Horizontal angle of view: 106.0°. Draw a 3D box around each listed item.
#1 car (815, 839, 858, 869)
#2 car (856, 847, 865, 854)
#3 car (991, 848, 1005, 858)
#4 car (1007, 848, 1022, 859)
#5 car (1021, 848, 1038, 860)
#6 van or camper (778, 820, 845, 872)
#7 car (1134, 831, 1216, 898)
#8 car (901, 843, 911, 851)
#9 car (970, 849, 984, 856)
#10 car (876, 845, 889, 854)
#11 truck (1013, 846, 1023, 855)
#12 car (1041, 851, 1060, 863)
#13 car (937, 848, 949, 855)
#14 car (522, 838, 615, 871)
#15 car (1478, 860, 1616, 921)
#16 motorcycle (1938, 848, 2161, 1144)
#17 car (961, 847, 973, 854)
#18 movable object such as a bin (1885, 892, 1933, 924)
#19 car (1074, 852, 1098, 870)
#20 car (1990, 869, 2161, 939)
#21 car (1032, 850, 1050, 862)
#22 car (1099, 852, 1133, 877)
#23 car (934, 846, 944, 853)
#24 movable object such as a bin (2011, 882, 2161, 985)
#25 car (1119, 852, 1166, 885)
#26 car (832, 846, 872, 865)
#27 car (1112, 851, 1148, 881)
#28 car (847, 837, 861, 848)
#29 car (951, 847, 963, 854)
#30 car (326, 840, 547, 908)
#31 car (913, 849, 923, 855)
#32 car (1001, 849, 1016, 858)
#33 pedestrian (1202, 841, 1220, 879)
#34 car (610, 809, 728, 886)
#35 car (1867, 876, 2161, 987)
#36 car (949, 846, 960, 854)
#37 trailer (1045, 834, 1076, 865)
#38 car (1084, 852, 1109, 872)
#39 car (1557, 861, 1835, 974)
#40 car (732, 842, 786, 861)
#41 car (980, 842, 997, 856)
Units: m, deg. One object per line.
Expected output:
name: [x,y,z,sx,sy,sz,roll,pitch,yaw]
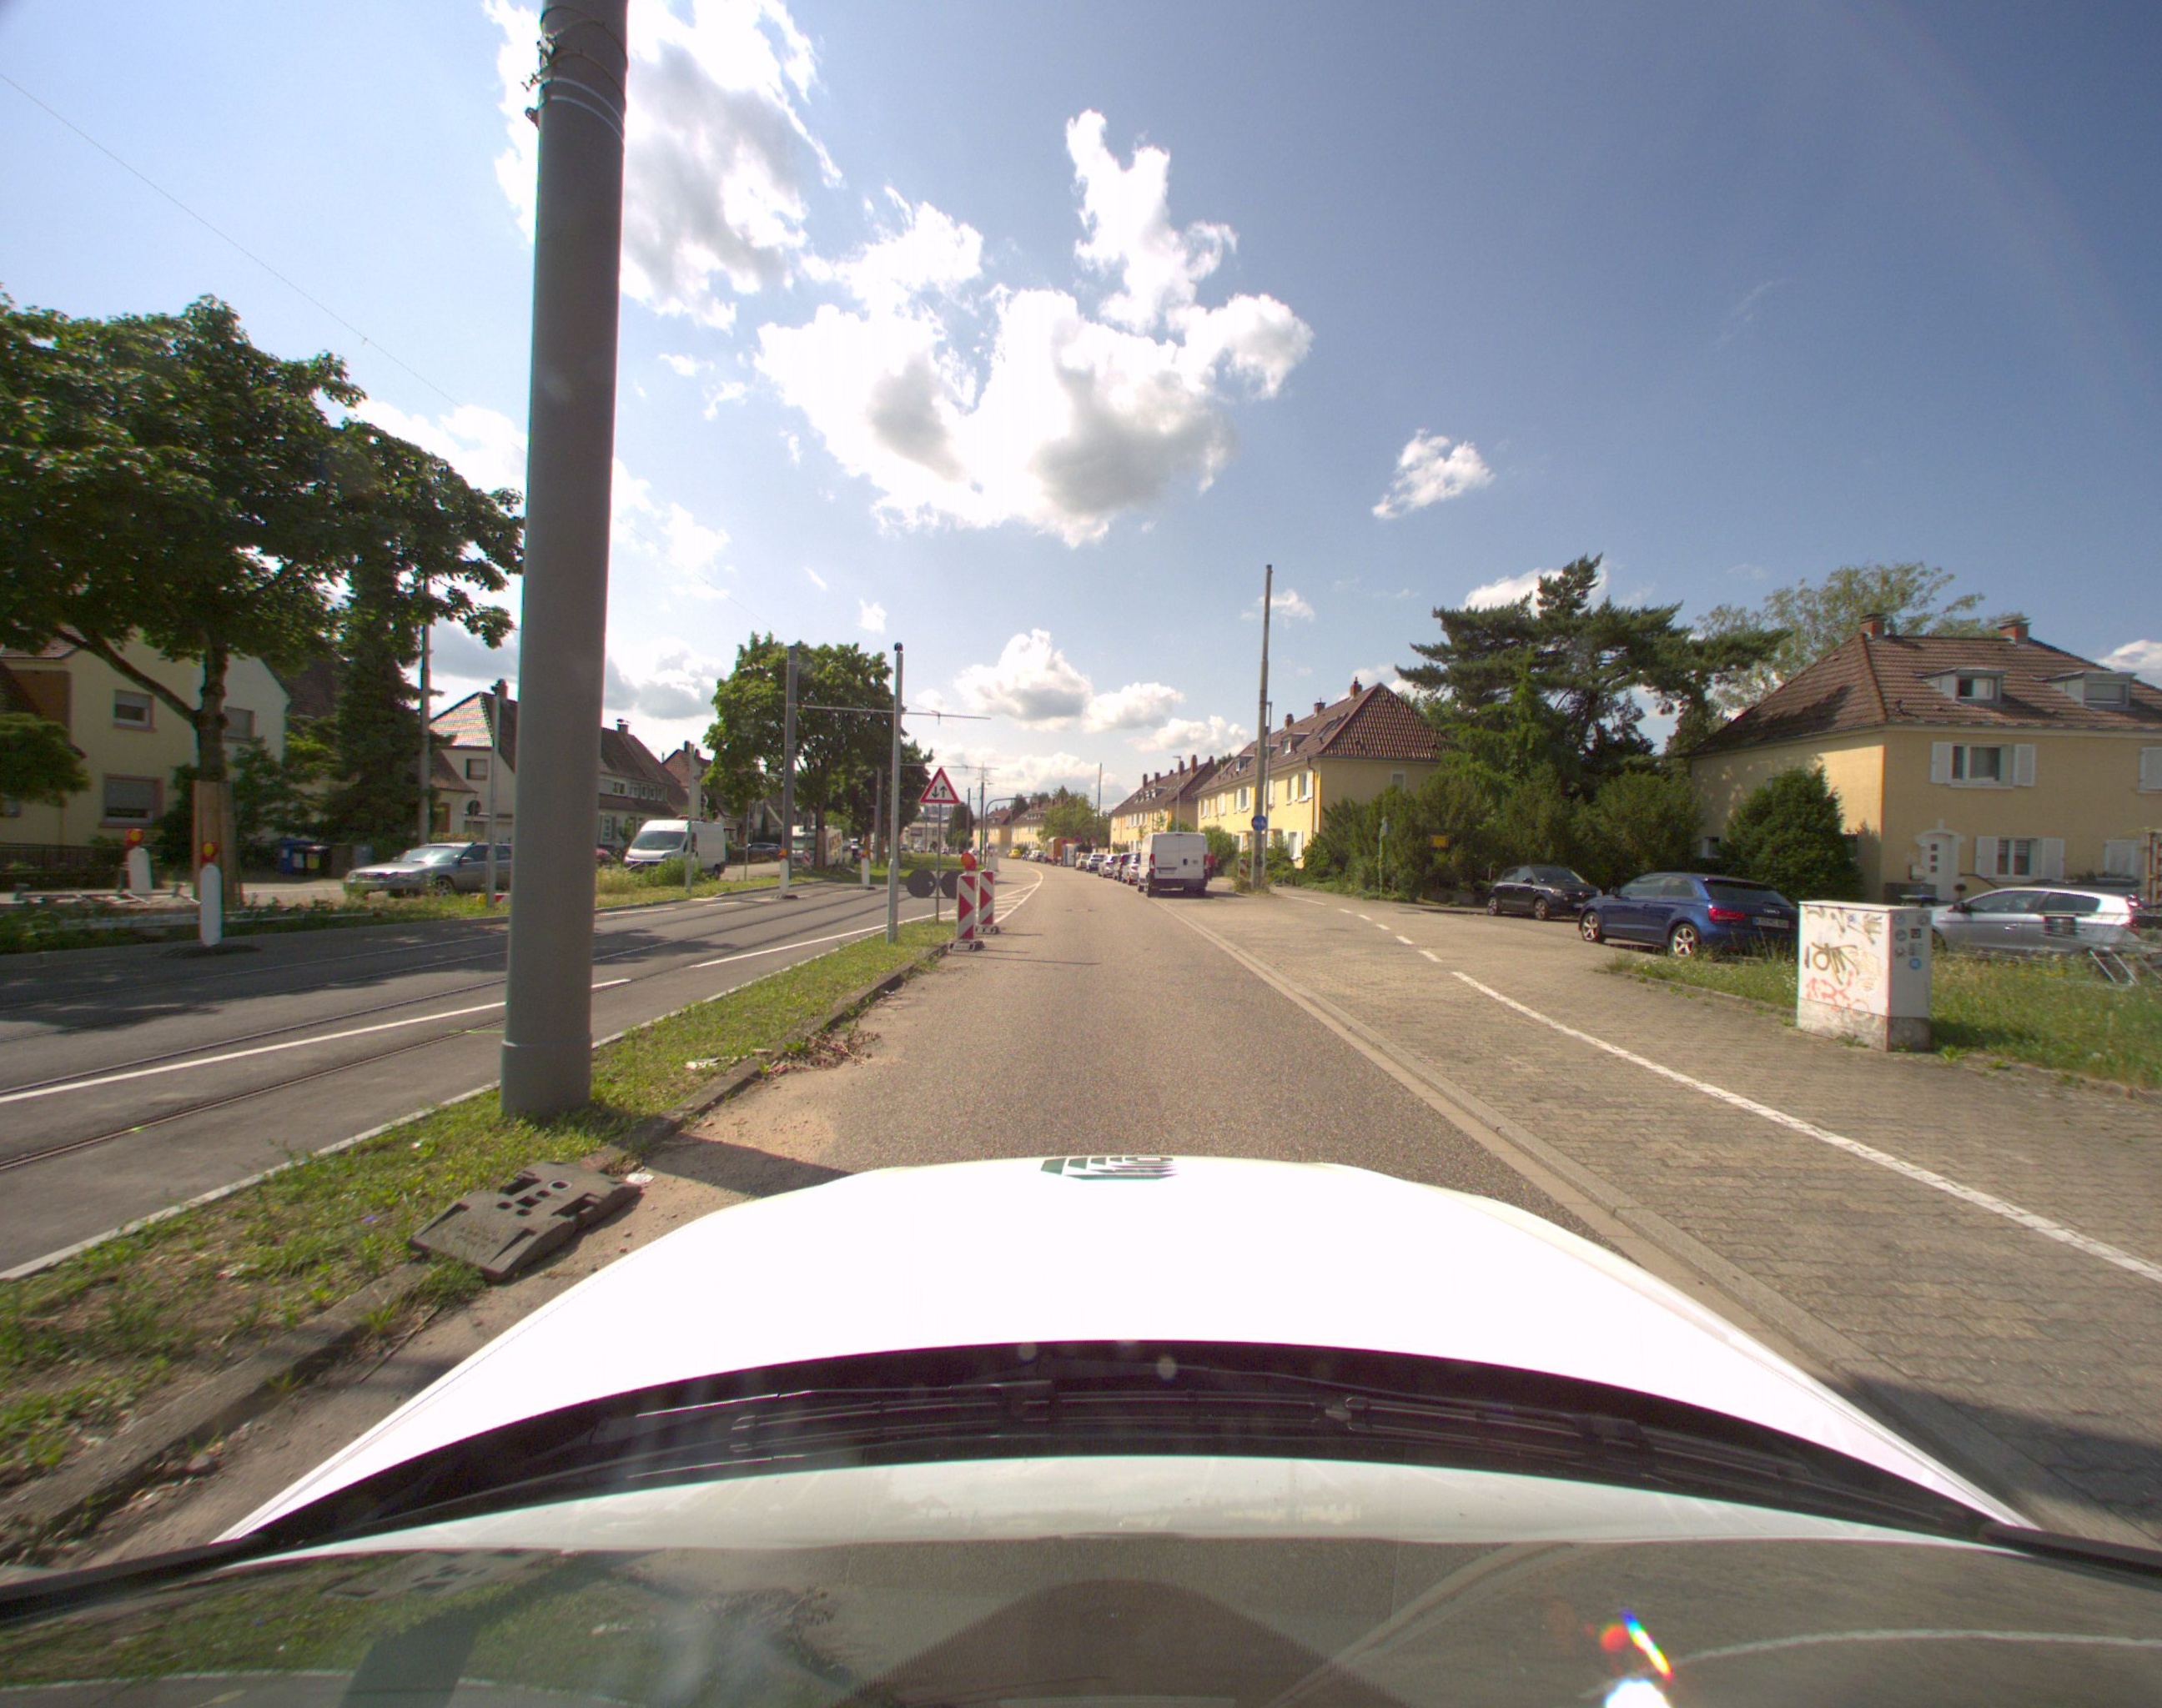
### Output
car: [-17.611,0.006,58.828,1.990,2.013,4.895,1,0,-5]
car: [-51.218,-0.830,189.000,1.734,1.505,4.537,-1,1,-20]
car: [-14.462,-0.245,142.226,1.640,1.602,4.006,2,0,-17]
car: [-10.510,-0.099,128.172,1.639,1.482,3.912,-2,2,-15]
car: [-7.371,0.031,116.166,1.551,1.641,4.226,1,0,-14]
van or camper: [-16.783,-0.479,51.151,2.372,2.970,7.282,1,0,-5]
car: [3.346,0.331,30.338,2.269,2.182,6.366,1,0,0]
car: [-44.953,-1.843,208.940,1.961,1.966,5.259,0,1,-19]
car: [-20.978,-0.320,164.297,1.806,1.458,4.730,-1,0,-22]
car: [-37.124,-0.889,152.176,1.817,1.586,4.537,-1,1,-20]
truck: [-11.770,-0.632,151.249,1.349,1.688,2.427,1,0,-17]
car: [-3.745,0.341,98.484,1.578,1.449,4.436,1,0,-11]
car: [-27.660,-0.522,163.115,1.671,1.449,3.932,-1,1,-20]
car: [-26.009,0.019,41.416,3.610,1.522,1.668,1,0,-4]
car: [13.078,0.975,23.131,1.624,1.547,3.805,2,0,-3]
motorcycle: [5.921,0.711,3.865,1.043,1.470,2.587,-1,0,2]
car: [-23.692,-0.651,168.983,1.627,1.417,3.972,-1,1,-21]
movable object such as a bin: [25.216,1.631,24.810,0.697,0.913,0.741,1,0,2]
car: [0.372,0.569,68.597,1.462,1.502,4.099,0,0,-7]
car: [26.909,1.323,21.382,4.097,1.689,1.734,2,-3,0]
car: [-5.261,0.198,106.192,1.707,1.449,4.816,1,0,-11]
car: [2.101,0.611,50.498,1.745,1.497,4.381,0,0,-3]
car: [-34.382,-1.049,197.173,1.770,1.502,3.972,-1,1,-21]
movable object such as a bin: [10.640,0.795,8.462,0.567,0.936,1.290,1,0,7]
car: [2.936,0.657,39.675,1.704,1.504,4.248,1,0,-4]
car: [-17.955,0.105,64.084,1.847,1.387,4.806,1,0,-1]
car: [2.648,0.636,44.592,1.624,1.550,3.806,0,0,-3]
car: [-54.667,-2.822,196.053,2.084,2.721,6.944,-1,1,-25]
car: [-26.941,-0.734,177.382,1.770,1.417,3.972,-1,1,-21]
car: [-15.644,0.430,20.172,1.687,1.464,4.753,1,0,0]
car: [-37.776,-0.489,188.443,1.730,1.389,4.093,1,0,-21]
car: [-11.919,-0.104,133.127,1.640,1.482,4.101,2,0,-17]
pedestrian: [6.899,0.314,43.130,0.771,2.013,0.761,1,0,-3]
car: [-15.678,-0.231,31.343,2.148,2.668,4.911,1,0,-3]
car: [16.083,1.199,13.838,1.556,1.397,3.930,1,1,-3]
car: [-28.309,-0.919,182.144,1.770,1.643,3.972,-1,1,-21]
trailer: [-2.332,-0.515,90.147,2.691,3.226,5.064,1,0,-10]
car: [1.155,0.600,62.306,1.525,1.481,3.803,0,0,-5]
car: [10.084,0.930,13.841,1.632,1.380,4.293,2,2,3]
car: [-27.870,-0.205,70.556,3.988,1.530,1.867,2,0,-11]
car: [-17.284,-0.902,151.996,1.934,2.480,5.484,0,0,-18]
